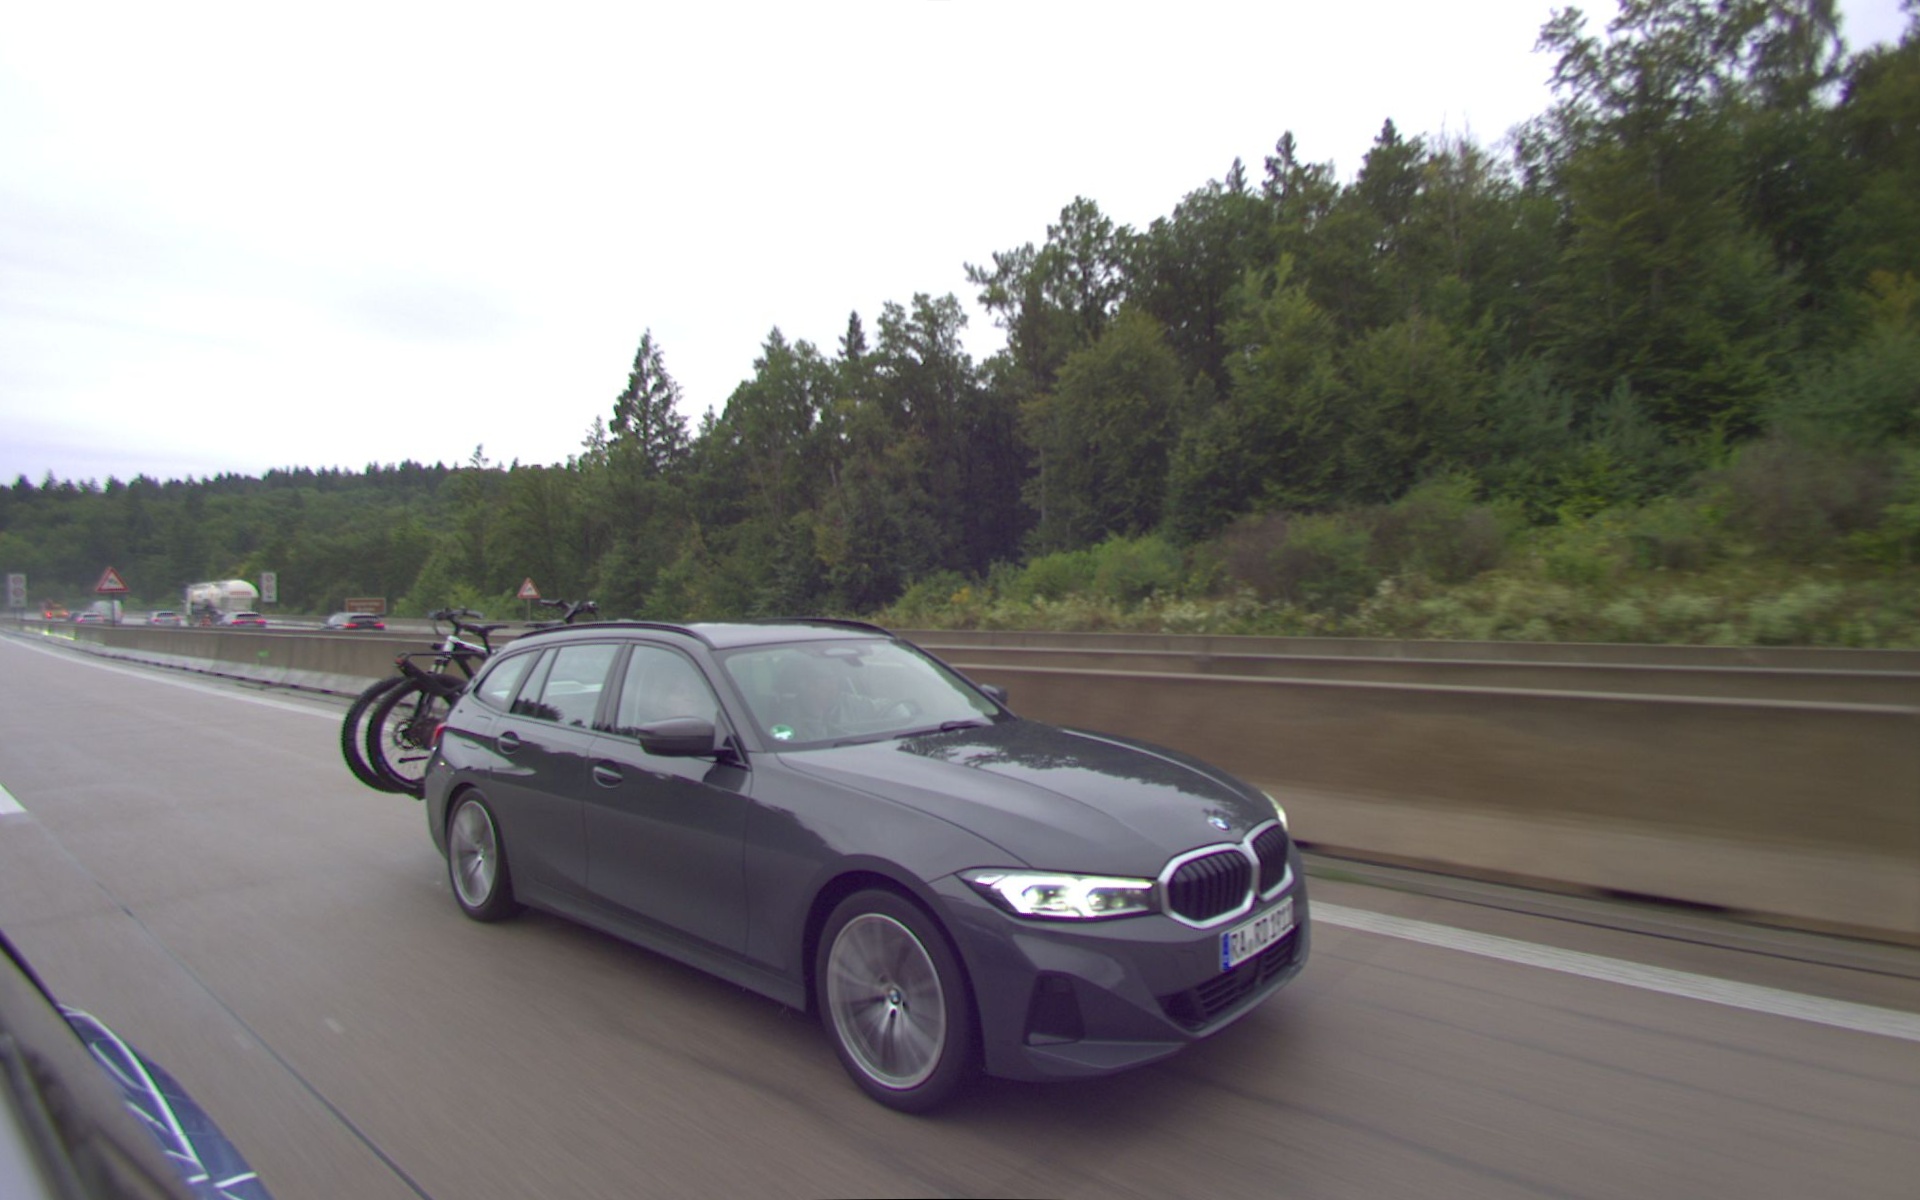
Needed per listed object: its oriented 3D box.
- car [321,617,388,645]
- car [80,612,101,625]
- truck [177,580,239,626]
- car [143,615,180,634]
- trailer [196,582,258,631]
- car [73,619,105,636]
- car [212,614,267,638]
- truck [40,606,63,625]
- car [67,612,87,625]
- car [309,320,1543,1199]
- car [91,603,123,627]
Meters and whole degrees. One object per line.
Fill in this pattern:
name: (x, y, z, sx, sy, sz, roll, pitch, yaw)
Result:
car: (-27.398, 1.367, 45.749, 4.404, 1.174, 1.494, -1, 0, 44)
car: (-126.832, 2.689, 147.620, 4.976, 1.712, 1.971, -1, 0, 45)
truck: (-64.561, 0.315, 86.743, 10.493, 3.695, 2.535, -1, 0, 44)
car: (-62.759, 1.913, 79.538, 4.722, 1.382, 1.640, -1, 0, 44)
trailer: (-58.674, 0.543, 80.923, 8.232, 3.695, 2.517, -1, 0, 44)
car: (-77.697, 2.436, 90.239, 4.758, 1.382, 1.641, -1, 0, 43)
car: (-42.290, 1.522, 59.374, 4.565, 1.343, 1.782, -1, 0, 43)
truck: (-156.611, 2.677, 174.384, 2.404, 3.198, 10.667, -2, 1, -45)
car: (-112.893, 2.353, 129.399, 4.644, 1.565, 1.590, -1, 0, 45)
car: (-0.994, 0.485, 4.710, 6.161, 1.959, 1.887, -1, -1, 42)
car: (-90.314, 1.612, 107.133, 6.748, 2.467, 1.971, -1, 0, 44)
